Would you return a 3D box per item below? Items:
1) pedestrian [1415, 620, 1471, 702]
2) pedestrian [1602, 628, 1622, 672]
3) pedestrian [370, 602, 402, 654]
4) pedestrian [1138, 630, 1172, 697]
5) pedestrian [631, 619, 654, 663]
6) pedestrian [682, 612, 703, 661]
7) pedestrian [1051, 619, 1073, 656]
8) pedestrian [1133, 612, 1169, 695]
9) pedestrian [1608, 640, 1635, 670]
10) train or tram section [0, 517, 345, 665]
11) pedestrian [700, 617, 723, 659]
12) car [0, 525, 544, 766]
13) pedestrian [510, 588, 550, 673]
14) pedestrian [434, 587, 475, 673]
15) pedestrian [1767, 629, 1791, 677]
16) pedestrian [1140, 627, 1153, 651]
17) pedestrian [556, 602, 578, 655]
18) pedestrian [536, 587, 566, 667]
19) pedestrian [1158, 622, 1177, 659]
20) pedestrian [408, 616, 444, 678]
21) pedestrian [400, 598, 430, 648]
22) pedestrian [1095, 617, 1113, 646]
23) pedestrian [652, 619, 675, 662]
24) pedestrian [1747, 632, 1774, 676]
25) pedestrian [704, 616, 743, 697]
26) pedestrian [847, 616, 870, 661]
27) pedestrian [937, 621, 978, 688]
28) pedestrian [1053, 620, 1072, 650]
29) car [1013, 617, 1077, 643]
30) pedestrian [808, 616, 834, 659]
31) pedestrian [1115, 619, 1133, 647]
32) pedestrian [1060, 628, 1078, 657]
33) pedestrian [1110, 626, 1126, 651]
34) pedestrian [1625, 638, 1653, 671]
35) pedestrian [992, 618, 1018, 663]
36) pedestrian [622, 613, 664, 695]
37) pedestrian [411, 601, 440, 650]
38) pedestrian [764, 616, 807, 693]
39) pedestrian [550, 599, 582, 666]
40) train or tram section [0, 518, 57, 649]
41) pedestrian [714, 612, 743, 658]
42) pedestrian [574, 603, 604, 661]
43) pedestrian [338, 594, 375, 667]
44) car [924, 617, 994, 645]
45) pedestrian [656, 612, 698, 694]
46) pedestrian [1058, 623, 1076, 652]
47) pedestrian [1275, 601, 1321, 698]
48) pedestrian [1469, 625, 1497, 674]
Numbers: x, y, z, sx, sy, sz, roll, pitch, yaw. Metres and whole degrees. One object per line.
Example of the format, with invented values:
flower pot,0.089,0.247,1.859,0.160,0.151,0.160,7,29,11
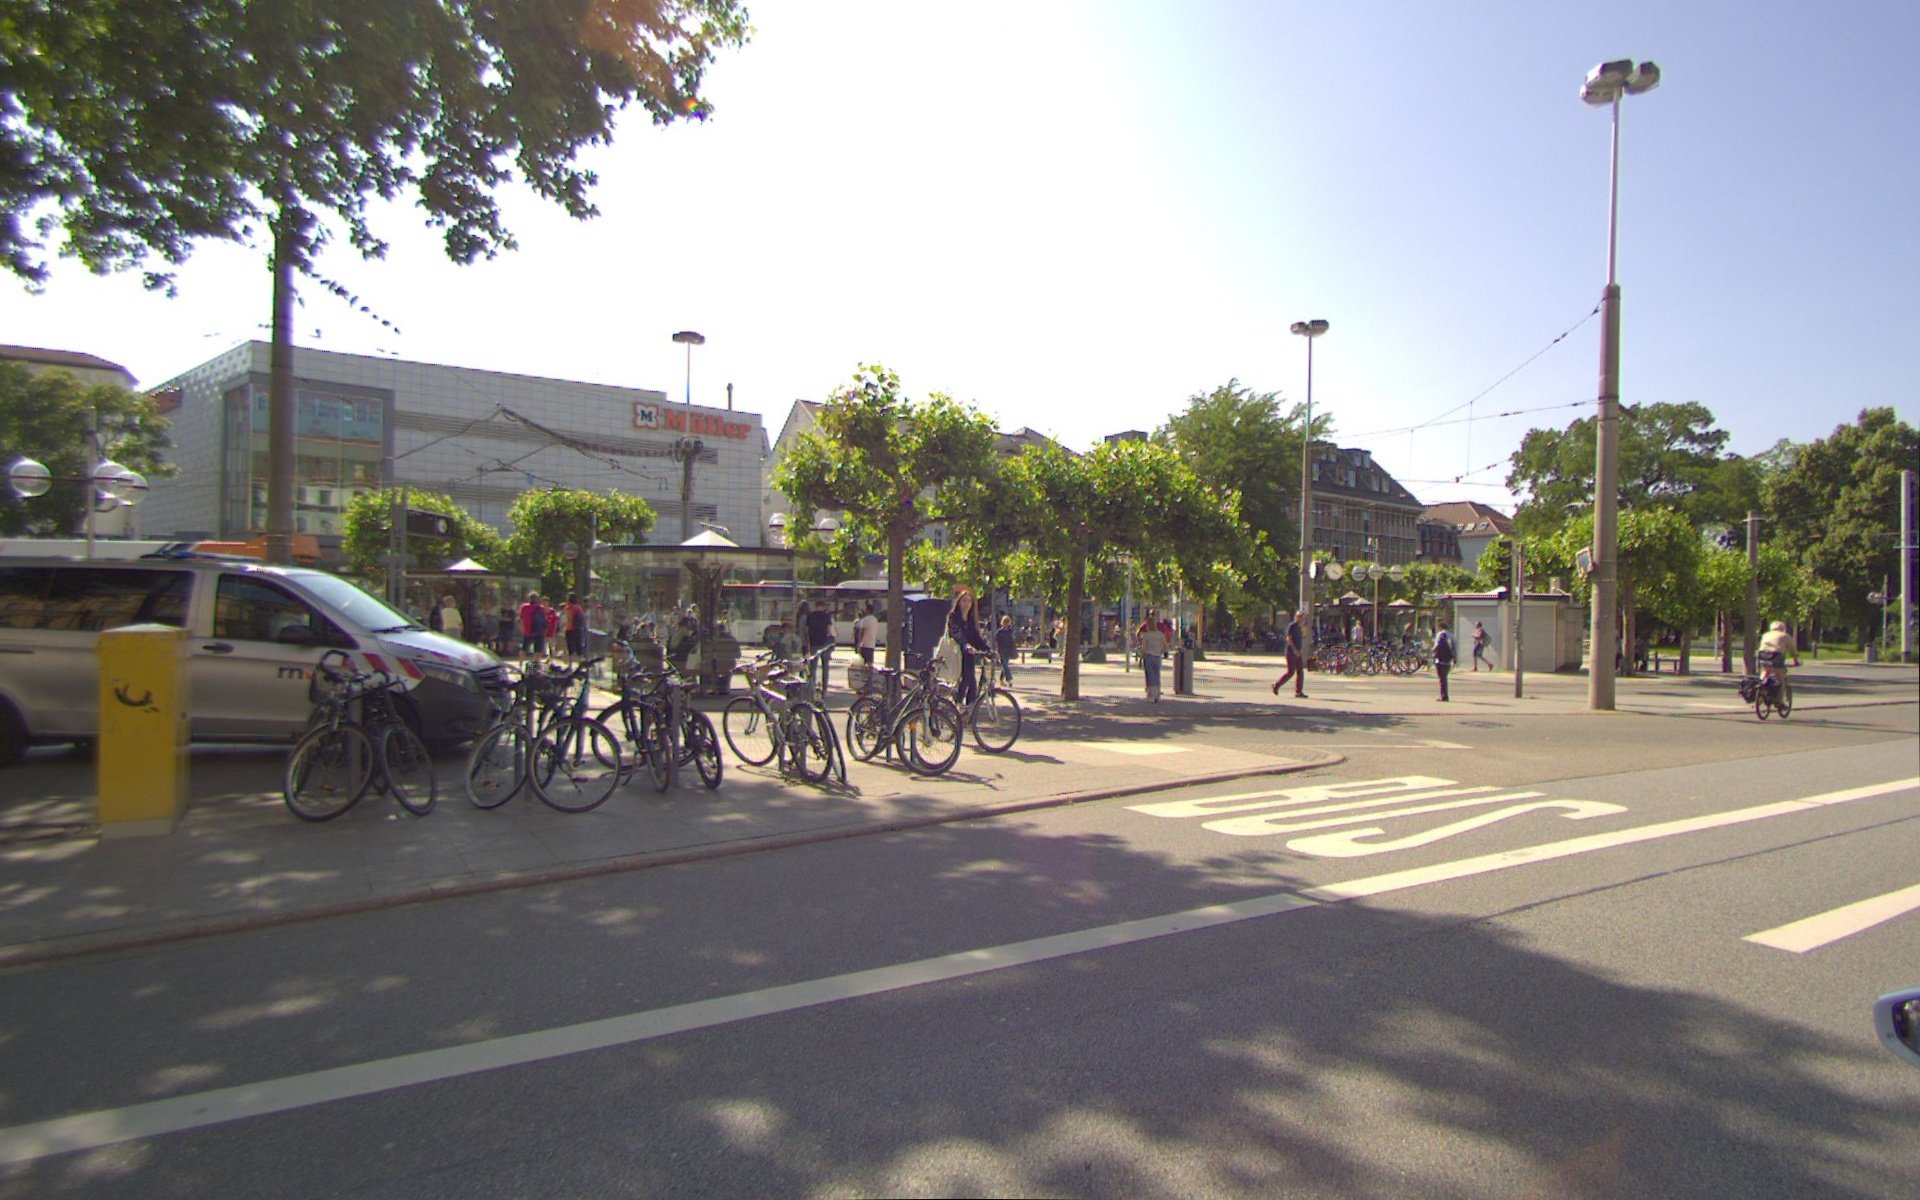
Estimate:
pedestrian,10.287,1.284,21.399,0.675,1.680,0.884,2,-1,-40
pedestrian,24.826,1.897,38.254,0.566,1.630,0.602,-2,-2,30
pedestrian,-17.802,0.875,31.161,0.667,1.569,0.578,-1,-2,-5
pedestrian,3.759,1.223,19.376,0.543,1.250,0.578,1,-1,3
pedestrian,-10.897,1.411,34.501,0.671,1.484,0.621,0,-2,-26
pedestrian,-9.360,1.289,35.133,0.465,1.687,0.520,-2,-3,37
pedestrian,4.106,1.503,40.413,0.616,1.484,0.676,0,-2,-25
pedestrian,4.128,1.157,21.722,0.667,1.768,0.625,-1,-2,3
pedestrian,26.437,2.186,40.133,0.746,1.186,0.670,1,-3,-37
train or tram section,-23.854,-0.305,30.034,9.329,3.878,2.622,2,1,2
pedestrian,-8.849,1.359,35.755,0.615,1.484,0.551,-2,-3,37
car,-6.991,0.413,9.862,4.976,2.040,1.996,2,1,-10
pedestrian,-9.196,0.653,21.517,0.668,1.801,0.577,0,-2,-11
pedestrian,-11.139,0.667,22.142,0.668,1.865,0.577,0,-2,-11
pedestrian,30.372,1.955,37.258,0.517,1.756,0.587,-2,-2,29
pedestrian,10.099,2.097,54.359,0.447,1.279,0.515,0,-2,-27
pedestrian,-13.084,0.952,33.414,0.550,1.741,0.464,-2,-3,37
pedestrian,-9.316,0.621,22.861,0.571,1.801,0.676,0,-2,-28
pedestrian,8.426,1.627,40.789,0.667,1.484,0.625,-1,-2,21
pedestrian,-10.691,0.939,20.107,0.523,1.218,0.538,1,-3,-43
pedestrian,-17.384,0.754,32.041,0.669,1.569,0.577,-2,-2,32
pedestrian,7.650,1.676,53.344,0.672,1.484,0.621,0,-2,-27
pedestrian,-10.364,1.425,35.073,0.671,1.484,0.621,0,-2,-26
pedestrian,30.154,2.031,37.840,0.617,1.630,0.524,0,-2,-22
pedestrian,-4.412,1.047,18.741,0.668,1.484,0.624,0,-2,-11
pedestrian,-3.405,1.280,33.632,0.518,1.484,0.586,-2,-3,39
pedestrian,-0.058,1.228,22.636,0.673,1.484,0.620,1,-2,-31
pedestrian,5.069,1.733,49.596,0.673,1.484,0.619,1,-3,-34
car,5.508,1.914,64.720,3.964,1.528,1.742,2,1,-37
pedestrian,-4.918,1.324,35.553,0.613,1.484,0.680,-2,-2,25
pedestrian,8.741,1.756,53.444,0.672,1.484,0.621,0,-2,-27
pedestrian,5.638,2.192,52.058,0.674,1.484,0.618,1,-3,-38
pedestrian,8.172,2.000,51.933,0.573,1.279,0.620,0,-2,-22
pedestrian,26.483,2.118,39.181,0.746,1.263,0.670,1,-3,-37
pedestrian,1.458,1.305,32.421,0.667,1.437,0.625,-1,-2,21
pedestrian,-5.832,0.986,18.518,0.668,1.484,0.624,0,-2,-11
pedestrian,-17.626,0.853,33.127,0.669,1.569,0.577,-2,-2,32
pedestrian,-3.427,1.076,19.748,0.612,1.484,0.681,-1,-2,15
pedestrian,-10.370,0.864,26.468,0.552,1.753,0.587,-2,-3,37
train or tram section,-33.094,-0.692,30.402,9.329,3.878,2.622,2,1,2
pedestrian,-7.679,1.170,33.315,0.615,1.521,0.678,-2,-3,37
pedestrian,-11.930,1.039,32.333,0.615,1.818,0.678,-2,-3,37
pedestrian,-13.185,0.672,21.963,0.649,1.569,0.569,0,-2,-29
car,-0.032,1.887,60.766,3.964,1.528,1.742,2,1,-37
pedestrian,-5.236,0.977,18.608,0.668,1.484,0.727,0,-2,-10
pedestrian,5.388,1.890,50.698,0.674,1.484,0.619,1,-3,-36
pedestrian,7.241,1.055,21.568,0.877,2.034,0.681,-1,-2,15
pedestrian,18.742,1.765,35.963,0.740,1.751,0.836,-2,-3,36
